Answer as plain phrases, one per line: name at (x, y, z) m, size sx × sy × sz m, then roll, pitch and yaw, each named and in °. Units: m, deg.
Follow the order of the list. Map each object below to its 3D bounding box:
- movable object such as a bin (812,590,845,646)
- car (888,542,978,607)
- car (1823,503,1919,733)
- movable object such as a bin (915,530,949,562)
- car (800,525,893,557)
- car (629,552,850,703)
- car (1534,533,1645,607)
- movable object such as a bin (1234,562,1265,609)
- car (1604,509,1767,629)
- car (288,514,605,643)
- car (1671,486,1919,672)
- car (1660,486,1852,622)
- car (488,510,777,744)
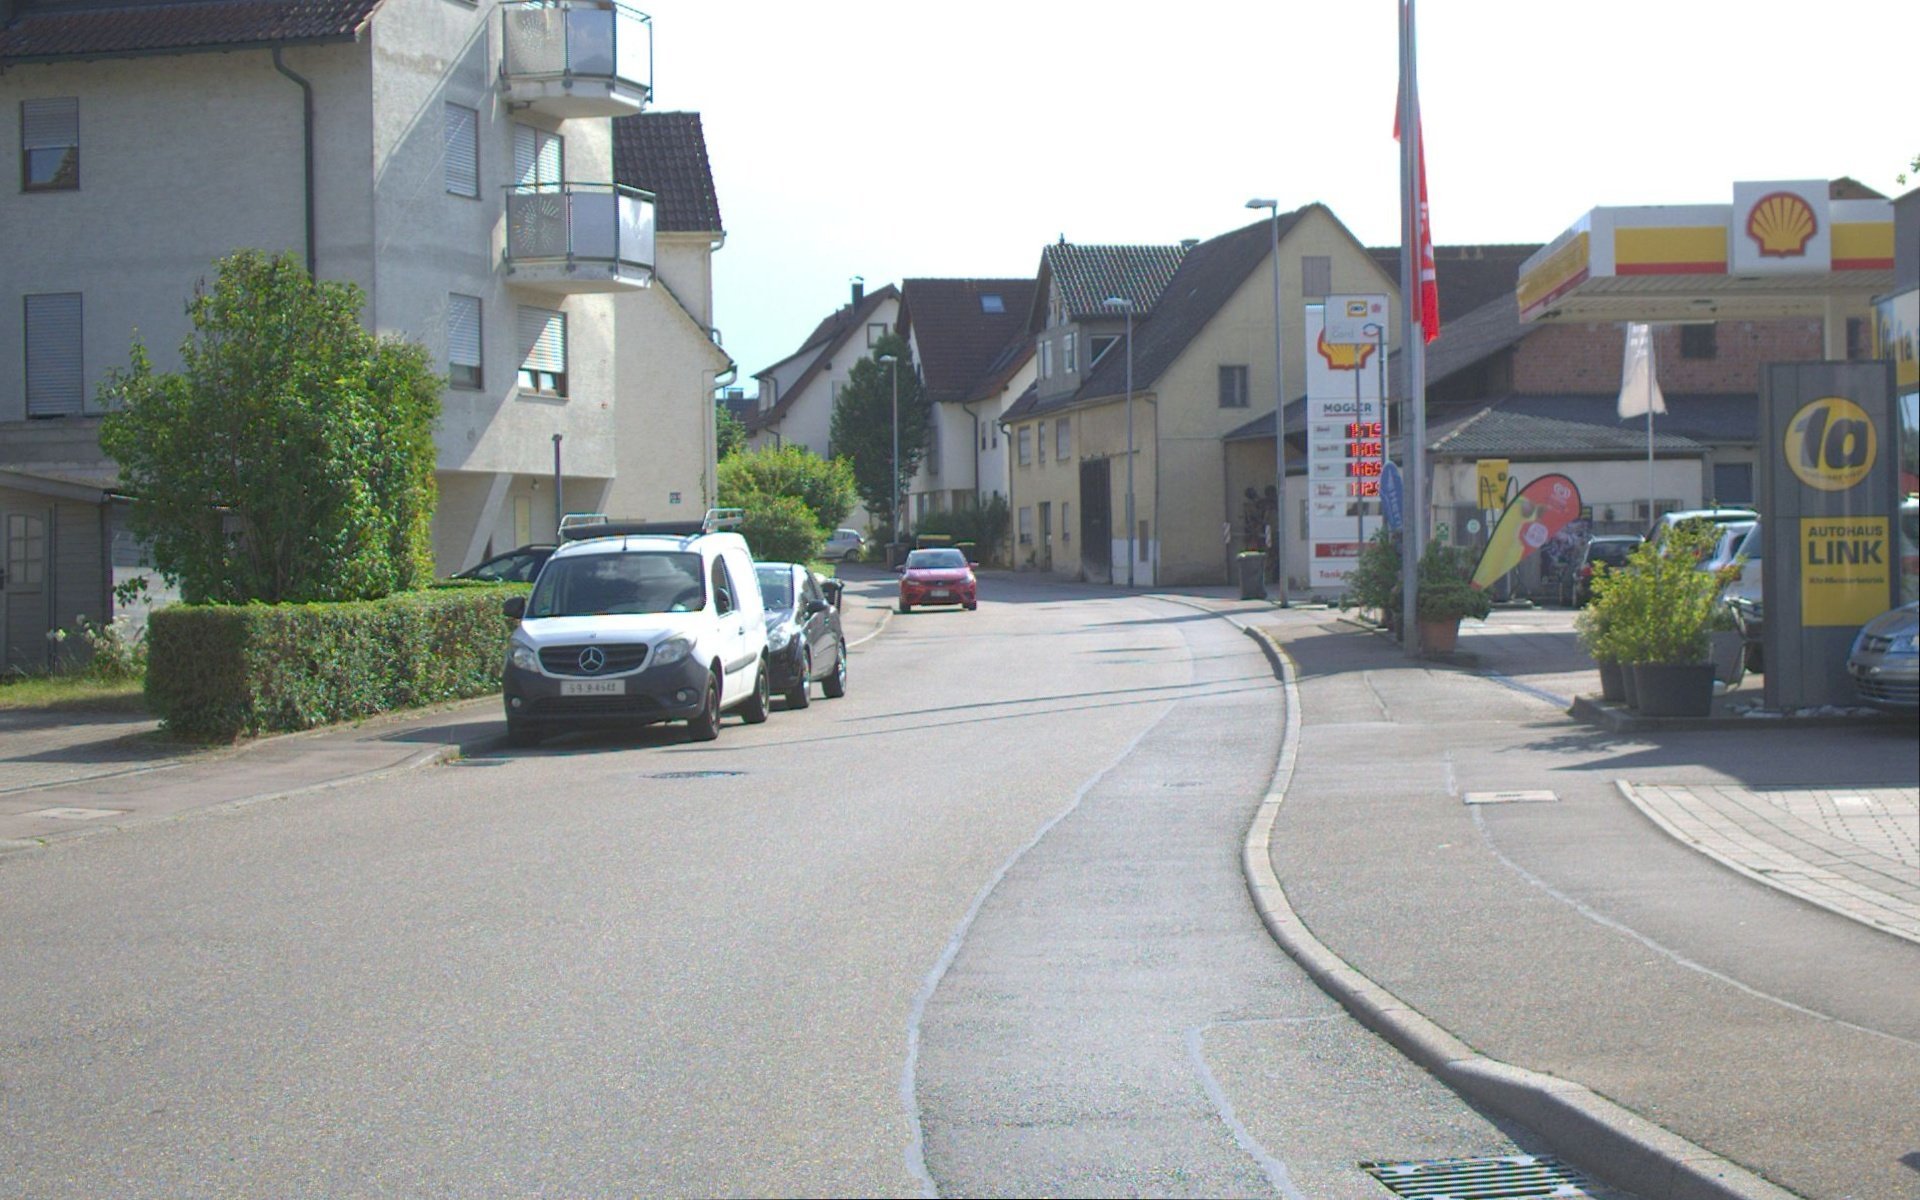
movable object such as a bin at (-2.489, 0.344, 64.931) m, size 0.531 × 1.019 × 0.457 m, roll -3°, pitch 1°, yaw 4°
car at (-0.653, -0.588, 80.299) m, size 1.708 × 1.430 × 3.781 m, roll -2°, pitch 0°, yaw -6°
car at (8.142, 0.070, 23.651) m, size 3.986 × 1.526 × 1.528 m, roll -1°, pitch 1°, yaw -2°
movable object such as a bin at (-1.054, -2.023, 129.274) m, size 1.160 × 1.164 × 0.655 m, roll -1°, pitch 1°, yaw -8°
car at (-4.981, -2.588, 150.225) m, size 3.986 × 1.348 × 1.711 m, roll -1°, pitch 1°, yaw -4°
car at (-2.235, 0.245, 35.696) m, size 1.673 × 1.446 × 3.834 m, roll -2°, pitch 1°, yaw 5°
car at (12.456, -0.616, 68.235) m, size 1.578 × 1.422 × 4.381 m, roll 0°, pitch 1°, yaw 3°
movable object such as a bin at (6.720, -0.333, 79.821) m, size 0.653 × 1.070 × 0.513 m, roll -1°, pitch 1°, yaw 1°
car at (10.122, -0.455, 48.199) m, size 1.672 × 1.572 × 3.998 m, roll -1°, pitch 1°, yaw 4°
car at (-7.227, -0.325, 48.475) m, size 3.990 × 1.533 × 1.761 m, roll 4°, pitch 2°, yaw 16°
car at (8.977, -0.248, 33.584) m, size 4.066 × 1.669 × 1.677 m, roll -3°, pitch 1°, yaw -38°
car at (9.799, -0.582, 42.572) m, size 1.672 × 1.572 × 3.998 m, roll -1°, pitch 1°, yaw 4°
car at (-2.802, 0.196, 30.273) m, size 1.717 × 1.866 × 4.191 m, roll -2°, pitch 1°, yaw 5°
